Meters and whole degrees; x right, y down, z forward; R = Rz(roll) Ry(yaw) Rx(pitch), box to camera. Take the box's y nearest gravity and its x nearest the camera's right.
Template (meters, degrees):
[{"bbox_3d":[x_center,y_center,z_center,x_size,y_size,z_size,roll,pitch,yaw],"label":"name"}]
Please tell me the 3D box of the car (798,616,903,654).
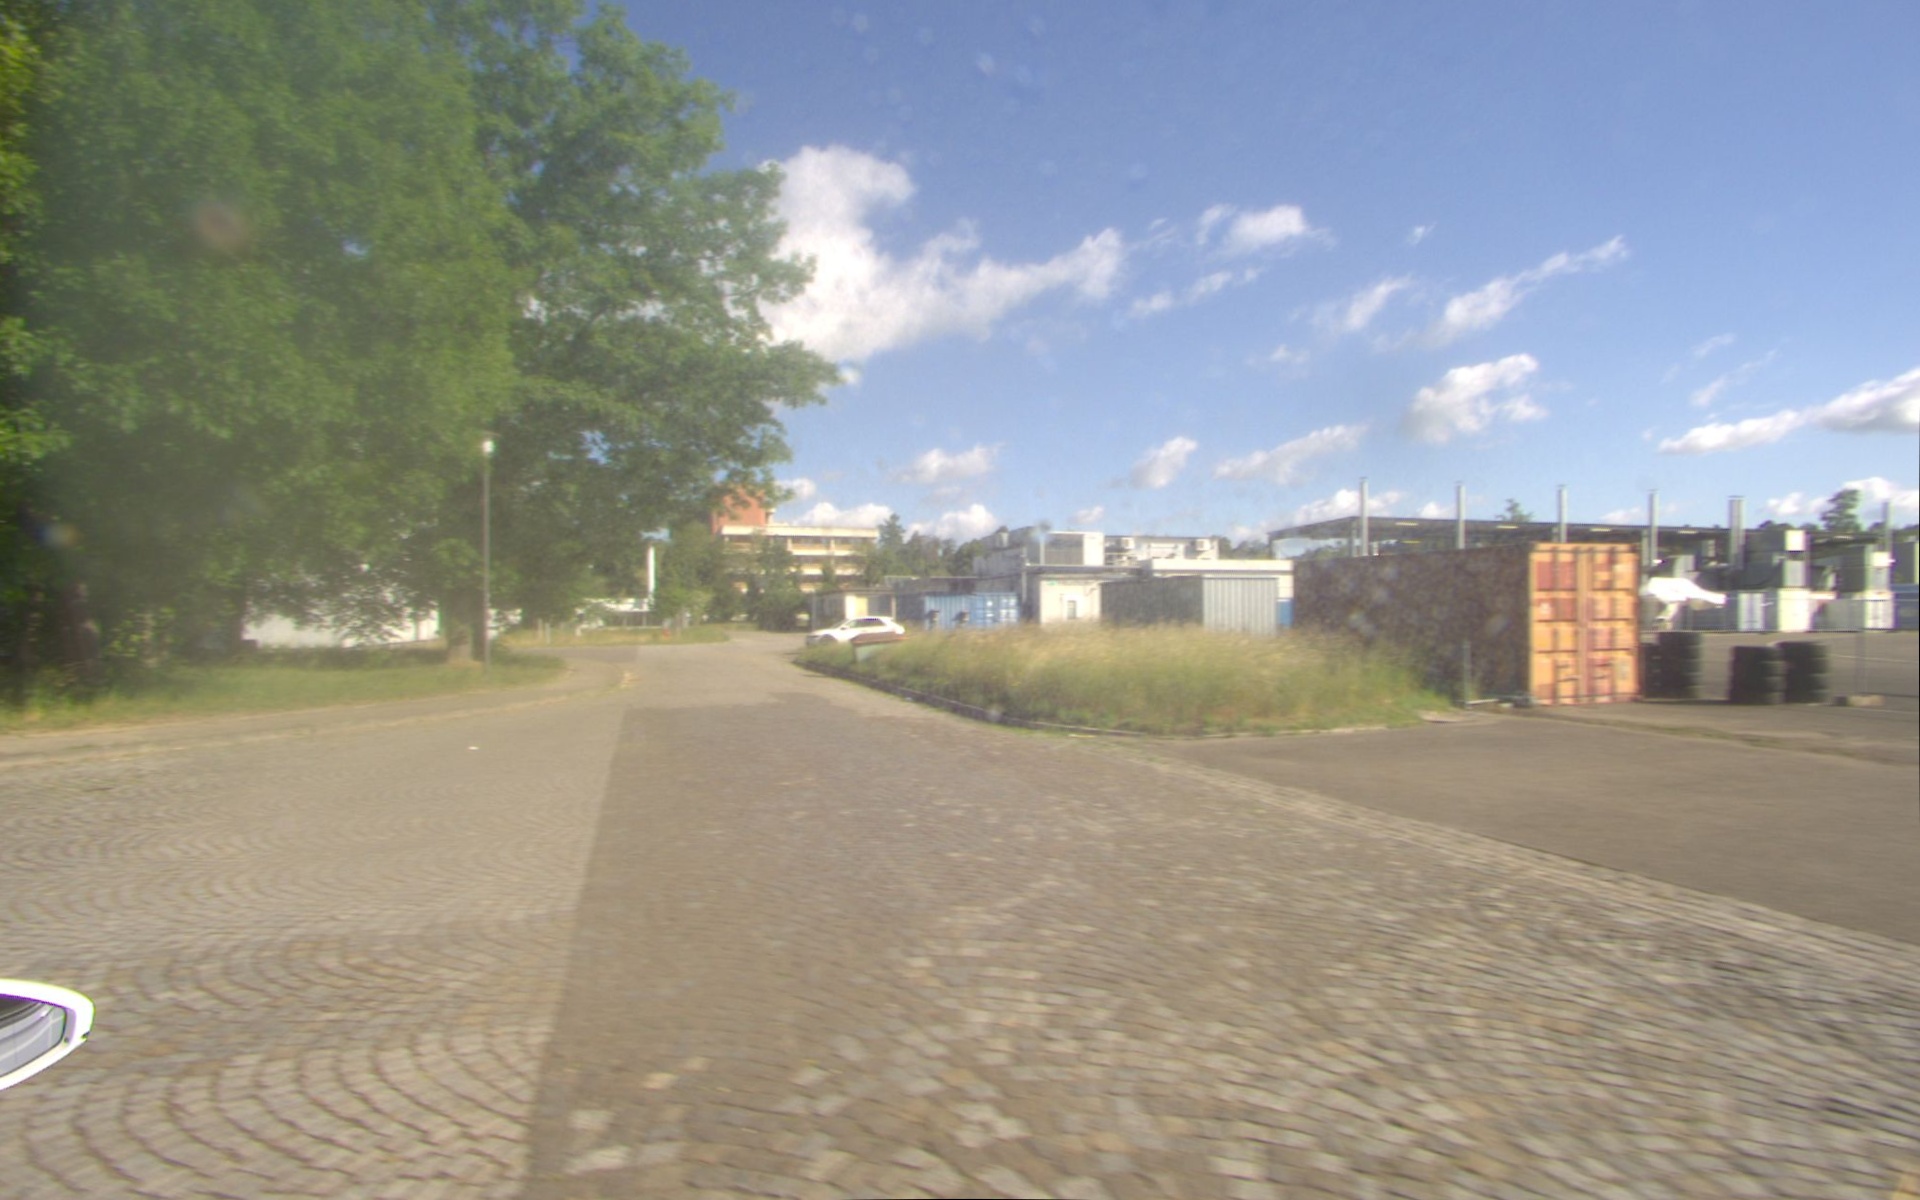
[{"bbox_3d":[-5.061,1.589,46.241,4.523,1.699,1.871,0,-1,-18],"label":"car"}]
